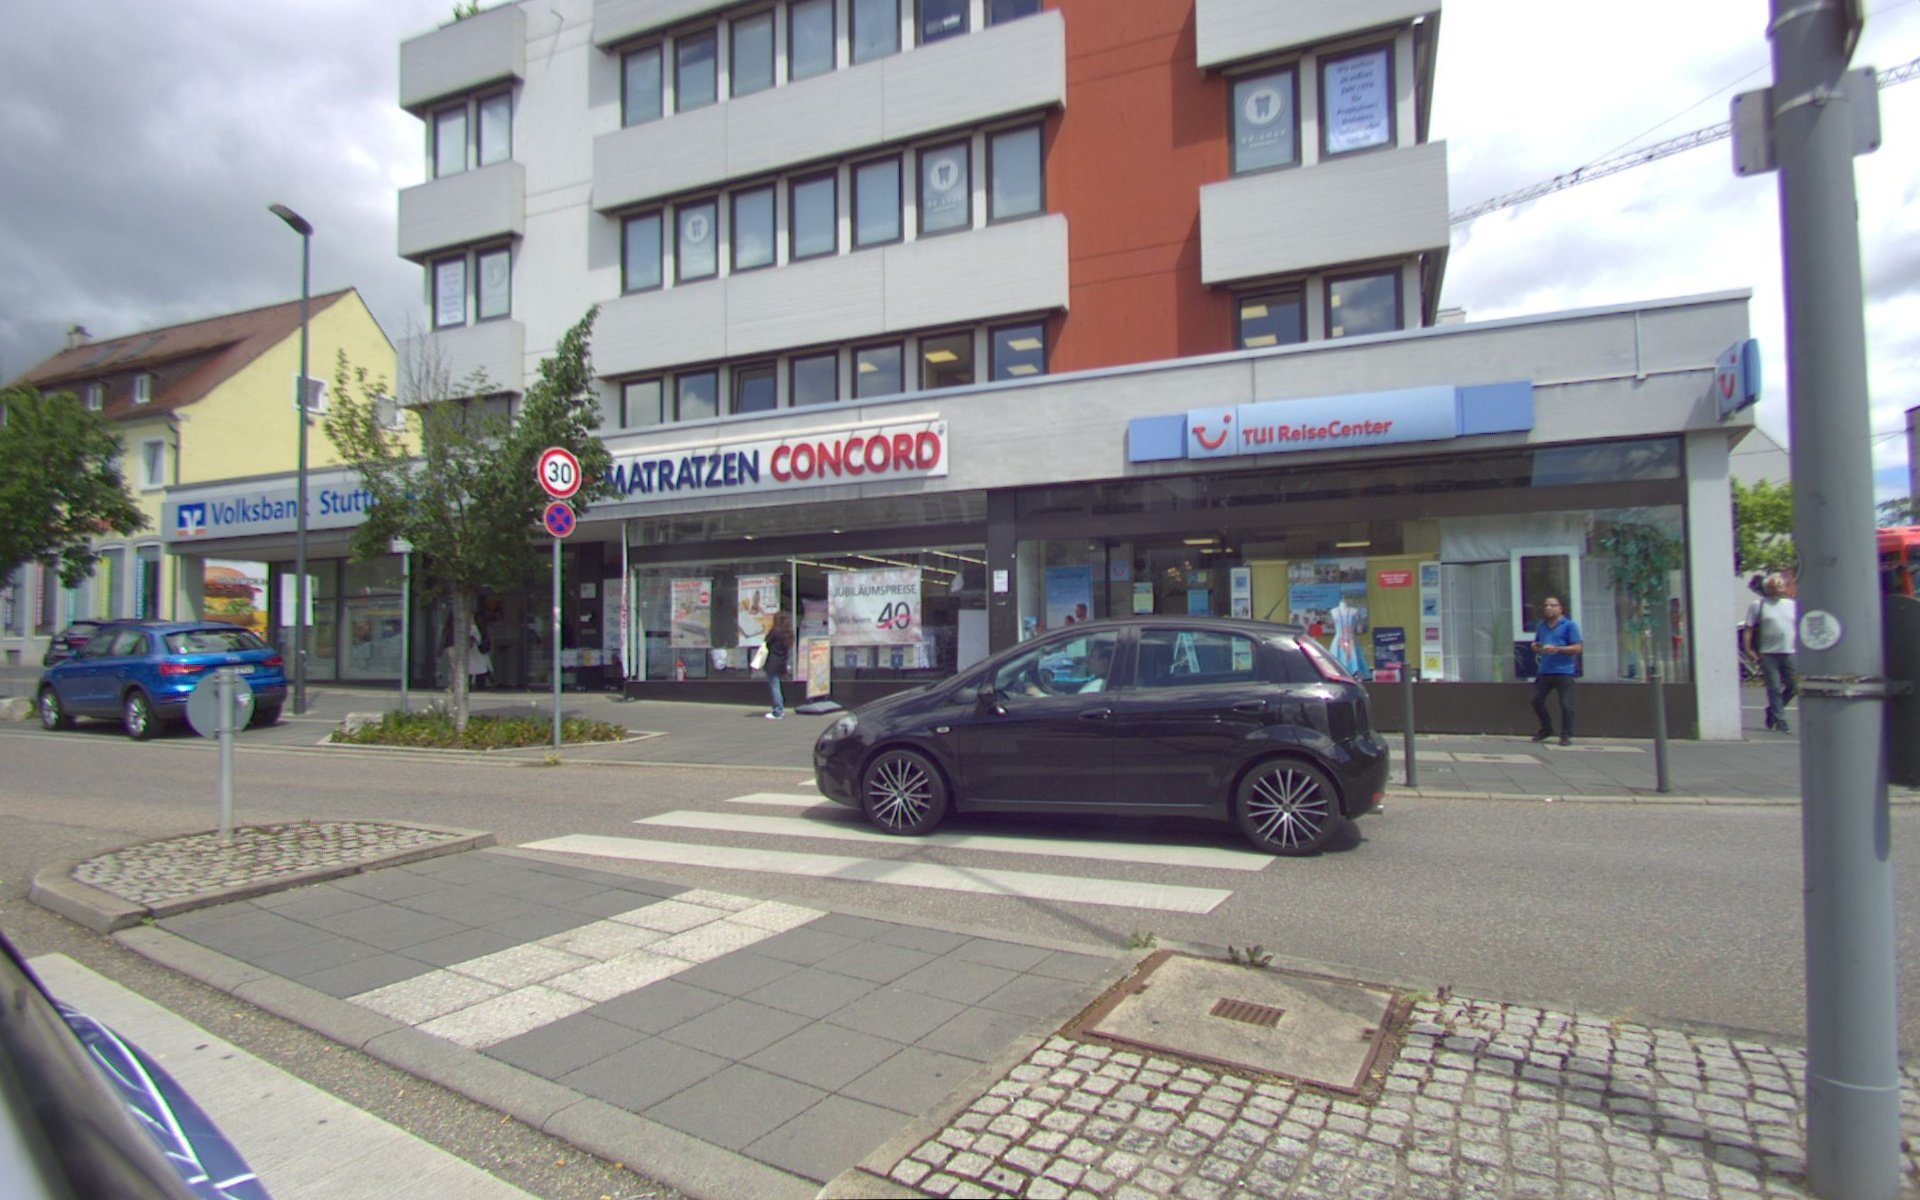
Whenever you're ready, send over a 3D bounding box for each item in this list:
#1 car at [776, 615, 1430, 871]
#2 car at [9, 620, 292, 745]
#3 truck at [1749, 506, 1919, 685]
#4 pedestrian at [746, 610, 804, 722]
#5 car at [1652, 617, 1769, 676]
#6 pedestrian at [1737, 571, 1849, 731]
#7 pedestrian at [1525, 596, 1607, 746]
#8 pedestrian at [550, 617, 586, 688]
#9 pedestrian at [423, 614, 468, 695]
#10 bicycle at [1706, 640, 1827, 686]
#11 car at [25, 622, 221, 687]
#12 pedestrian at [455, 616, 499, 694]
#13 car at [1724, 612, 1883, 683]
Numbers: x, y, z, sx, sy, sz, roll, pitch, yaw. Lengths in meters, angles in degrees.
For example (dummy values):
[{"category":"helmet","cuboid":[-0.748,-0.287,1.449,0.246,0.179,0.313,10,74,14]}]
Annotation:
[{"category":"car","cuboid":[0.930,0.826,7.133,4.083,1.430,1.694,0,-1,17]},{"category":"car","cuboid":[-12.204,1.139,15.220,4.309,1.611,1.685,0,0,27]},{"category":"truck","cuboid":[24.974,0.027,27.307,2.947,4.058,10.516,0,-1,22]},{"category":"pedestrian","cuboid":[-2.724,0.958,14.924,0.634,1.600,0.584,0,-1,23]},{"category":"car","cuboid":[22.289,1.334,30.253,1.852,1.593,4.340,0,-1,23]},{"category":"pedestrian","cuboid":[10.168,0.615,12.382,0.798,1.889,0.678,-1,-2,15]},{"category":"pedestrian","cuboid":[6.764,0.775,11.298,0.596,1.616,0.570,1,-2,-37]},{"category":"pedestrian","cuboid":[-9.731,1.305,25.128,0.581,1.718,0.642,-2,-4,14]},{"category":"pedestrian","cuboid":[-10.244,1.082,20.147,0.634,1.578,0.588,3,-4,-37]},{"category":"bicycle","cuboid":[18.100,1.404,22.761,2.054,0.953,0.517,0,-1,25]},{"category":"car","cuboid":[-21.821,1.366,26.554,1.657,1.570,3.612,0,-2,22]},{"category":"pedestrian","cuboid":[-9.930,1.124,20.799,0.583,1.578,0.507,-1,-4,25]},{"category":"car","cuboid":[20.778,1.122,25.147,1.852,1.593,4.340,0,-1,23]}]
